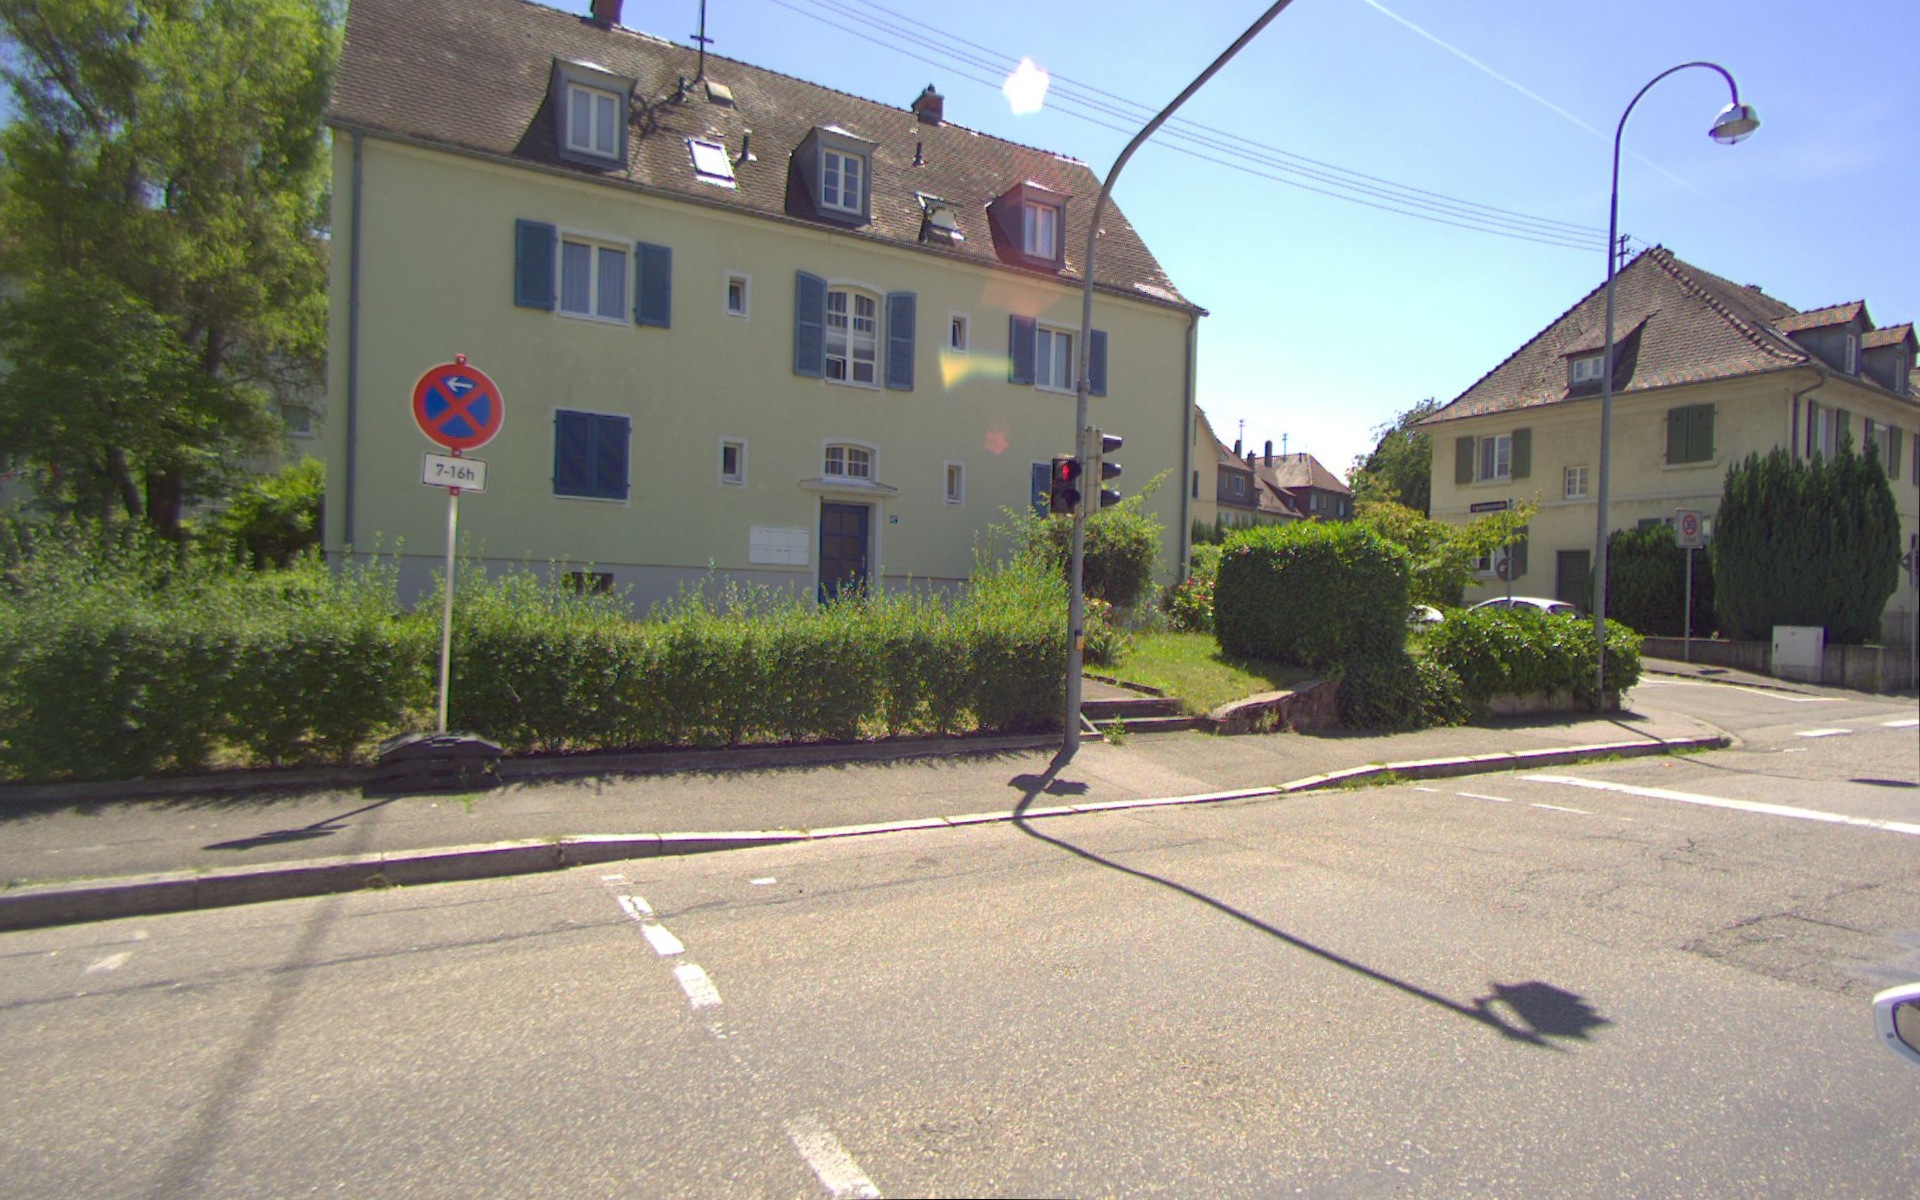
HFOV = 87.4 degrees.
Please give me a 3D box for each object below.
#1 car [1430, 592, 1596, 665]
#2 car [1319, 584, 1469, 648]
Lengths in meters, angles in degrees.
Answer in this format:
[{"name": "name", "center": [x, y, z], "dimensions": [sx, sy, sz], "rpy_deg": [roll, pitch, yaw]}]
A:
[{"name": "car", "center": [13.799, 0.676, 25.246], "dimensions": [1.711, 1.476, 3.193], "rpy_deg": [2, 4, -24]}, {"name": "car", "center": [12.130, 0.424, 28.291], "dimensions": [1.725, 1.476, 3.570], "rpy_deg": [2, 3, -24]}]
